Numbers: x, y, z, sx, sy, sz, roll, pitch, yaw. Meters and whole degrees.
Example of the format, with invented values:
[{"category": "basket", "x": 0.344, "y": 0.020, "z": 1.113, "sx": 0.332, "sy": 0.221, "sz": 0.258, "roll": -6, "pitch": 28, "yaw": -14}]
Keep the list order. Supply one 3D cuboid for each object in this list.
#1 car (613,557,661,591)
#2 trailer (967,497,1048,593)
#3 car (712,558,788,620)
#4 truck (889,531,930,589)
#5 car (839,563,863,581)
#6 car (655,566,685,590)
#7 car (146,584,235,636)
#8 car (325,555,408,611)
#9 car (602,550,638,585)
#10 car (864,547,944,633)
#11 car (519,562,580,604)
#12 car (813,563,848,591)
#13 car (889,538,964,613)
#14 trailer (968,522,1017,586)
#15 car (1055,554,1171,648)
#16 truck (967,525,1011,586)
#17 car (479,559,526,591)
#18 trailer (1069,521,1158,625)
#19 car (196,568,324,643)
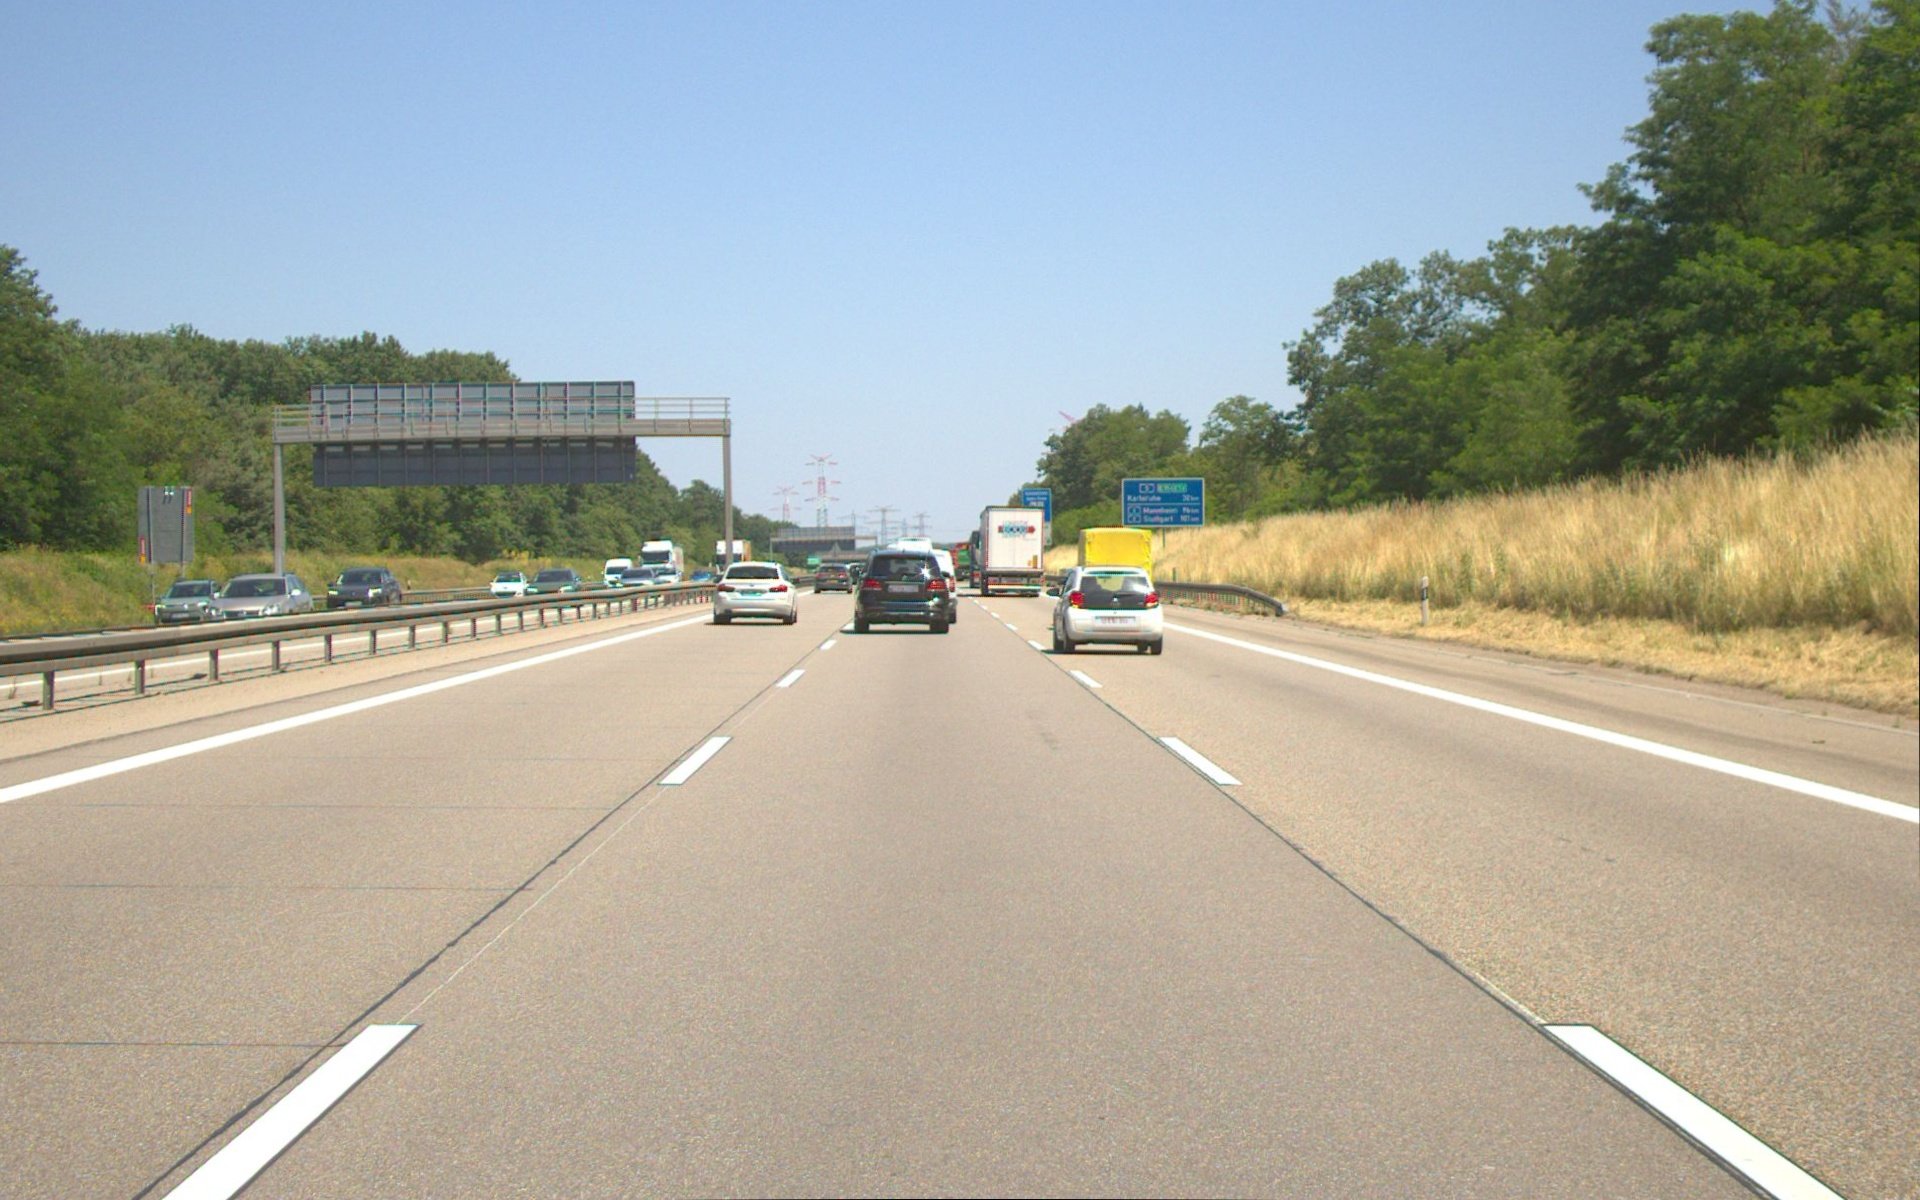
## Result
[{"category": "car", "x": -15.220, "y": -1.248, "z": 162.312, "sx": 1.794, "sy": 1.469, "sz": 4.987, "roll": -3, "pitch": 1, "yaw": -1}, {"category": "trailer", "x": 2.135, "y": -2.478, "z": 159.563, "sx": 3.286, "sy": 4.205, "sz": 13.565, "roll": 1, "pitch": 0, "yaw": -1}, {"category": "car", "x": -4.913, "y": -0.269, "z": 80.947, "sx": 1.669, "sy": 1.396, "sz": 3.713, "roll": 0, "pitch": 1, "yaw": -2}, {"category": "truck", "x": -2.597, "y": -2.027, "z": 177.421, "sx": 2.060, "sy": 2.904, "sz": 7.003, "roll": 0, "pitch": 0, "yaw": -1}, {"category": "car", "x": -6.855, "y": -1.770, "z": 216.519, "sx": 1.405, "sy": 1.128, "sz": 3.358, "roll": 0, "pitch": 1, "yaw": -1}, {"category": "car", "x": -19.226, "y": -1.489, "z": 228.258, "sx": 1.646, "sy": 1.494, "sz": 4.561, "roll": -3, "pitch": 1, "yaw": -1}, {"category": "car", "x": -22.996, "y": 0.290, "z": 102.836, "sx": 1.670, "sy": 1.405, "sz": 4.598, "roll": -3, "pitch": 1, "yaw": -1}, {"category": "car", "x": -18.664, "y": -0.550, "z": 108.224, "sx": 1.794, "sy": 1.613, "sz": 4.987, "roll": -3, "pitch": 1, "yaw": -1}, {"category": "car", "x": -23.813, "y": -2.269, "z": 240.661, "sx": 1.987, "sy": 2.332, "sz": 5.810, "roll": -3, "pitch": 1, "yaw": -1}, {"category": "car", "x": -1.175, "y": -0.230, "z": 72.564, "sx": 1.626, "sy": 1.749, "sz": 3.805, "roll": 0, "pitch": 1, "yaw": -1}, {"category": "car", "x": -14.904, "y": -0.631, "z": 124.935, "sx": 1.698, "sy": 1.424, "sz": 4.574, "roll": -3, "pitch": 1, "yaw": -1}, {"category": "car", "x": -6.284, "y": -1.127, "z": 166.939, "sx": 1.607, "sy": 1.296, "sz": 3.674, "roll": 0, "pitch": 1, "yaw": -1}, {"category": "car", "x": -0.855, "y": -0.604, "z": 85.847, "sx": 1.814, "sy": 1.821, "sz": 5.111, "roll": 0, "pitch": 0, "yaw": -1}, {"category": "trailer", "x": 1.970, "y": -2.832, "z": 215.382, "sx": 2.682, "sy": 3.824, "sz": 12.011, "roll": 1, "pitch": 0, "yaw": -1}, {"category": "car", "x": 2.515, "y": 0.000, "z": 57.238, "sx": 1.708, "sy": 1.490, "sz": 4.024, "roll": 0, "pitch": 1, "yaw": -1}, {"category": "truck", "x": 1.856, "y": -2.857, "z": 221.226, "sx": 2.682, "sy": 3.824, "sz": 4.444, "roll": 1, "pitch": 0, "yaw": -1}, {"category": "car", "x": -23.270, "y": -1.304, "z": 174.967, "sx": 1.794, "sy": 1.511, "sz": 4.904, "roll": -3, "pitch": 1, "yaw": -1}, {"category": "trailer", "x": 3.455, "y": -0.619, "z": 77.808, "sx": 1.703, "sy": 2.282, "sz": 3.840, "roll": 1, "pitch": 0, "yaw": -2}, {"category": "car", "x": -15.055, "y": 0.093, "z": 74.159, "sx": 1.761, "sy": 1.454, "sz": 5.121, "roll": -3, "pitch": 1, "yaw": -1}]
